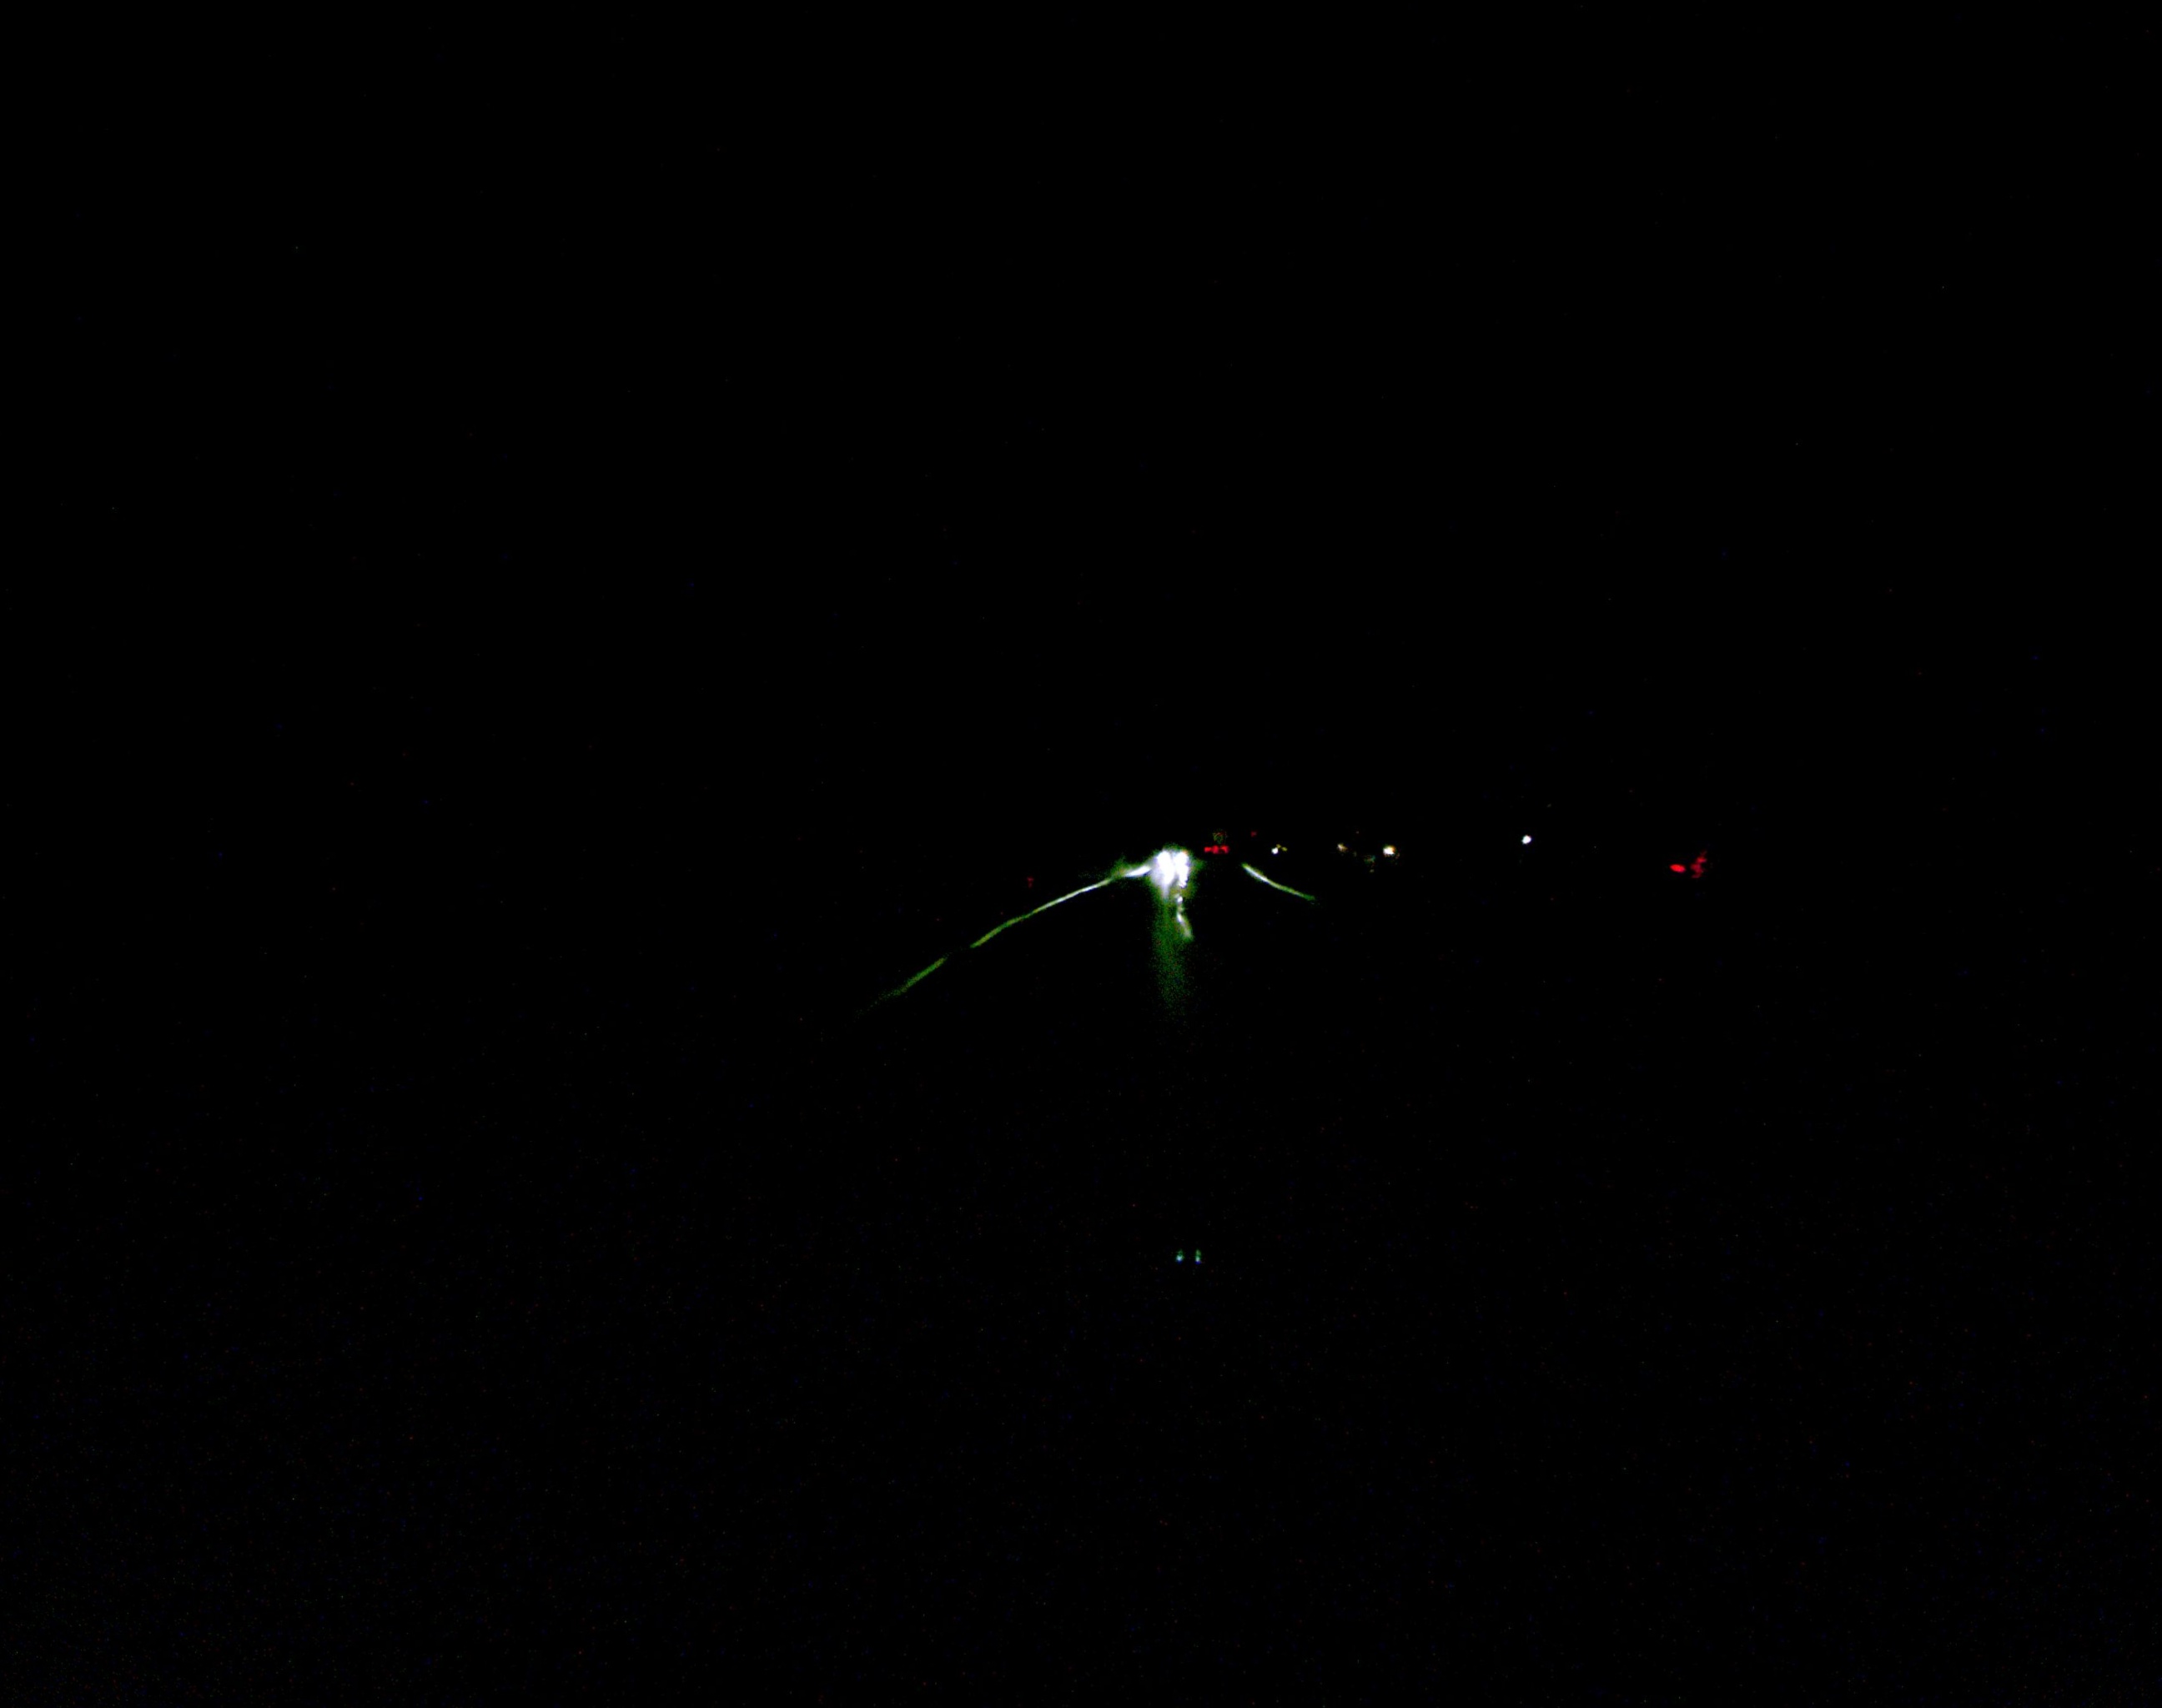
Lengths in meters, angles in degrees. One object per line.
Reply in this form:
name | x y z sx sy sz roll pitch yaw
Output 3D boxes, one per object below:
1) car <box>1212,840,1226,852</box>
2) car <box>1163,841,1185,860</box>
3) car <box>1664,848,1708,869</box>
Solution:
car | 19.141 -1.152 105.320 1.738 1.533 4.002 -3 1 10
car | 8.856 -0.338 72.393 1.958 1.712 4.002 -2 1 8
car | 50.768 0.349 63.835 1.657 1.512 3.452 -3 1 15
